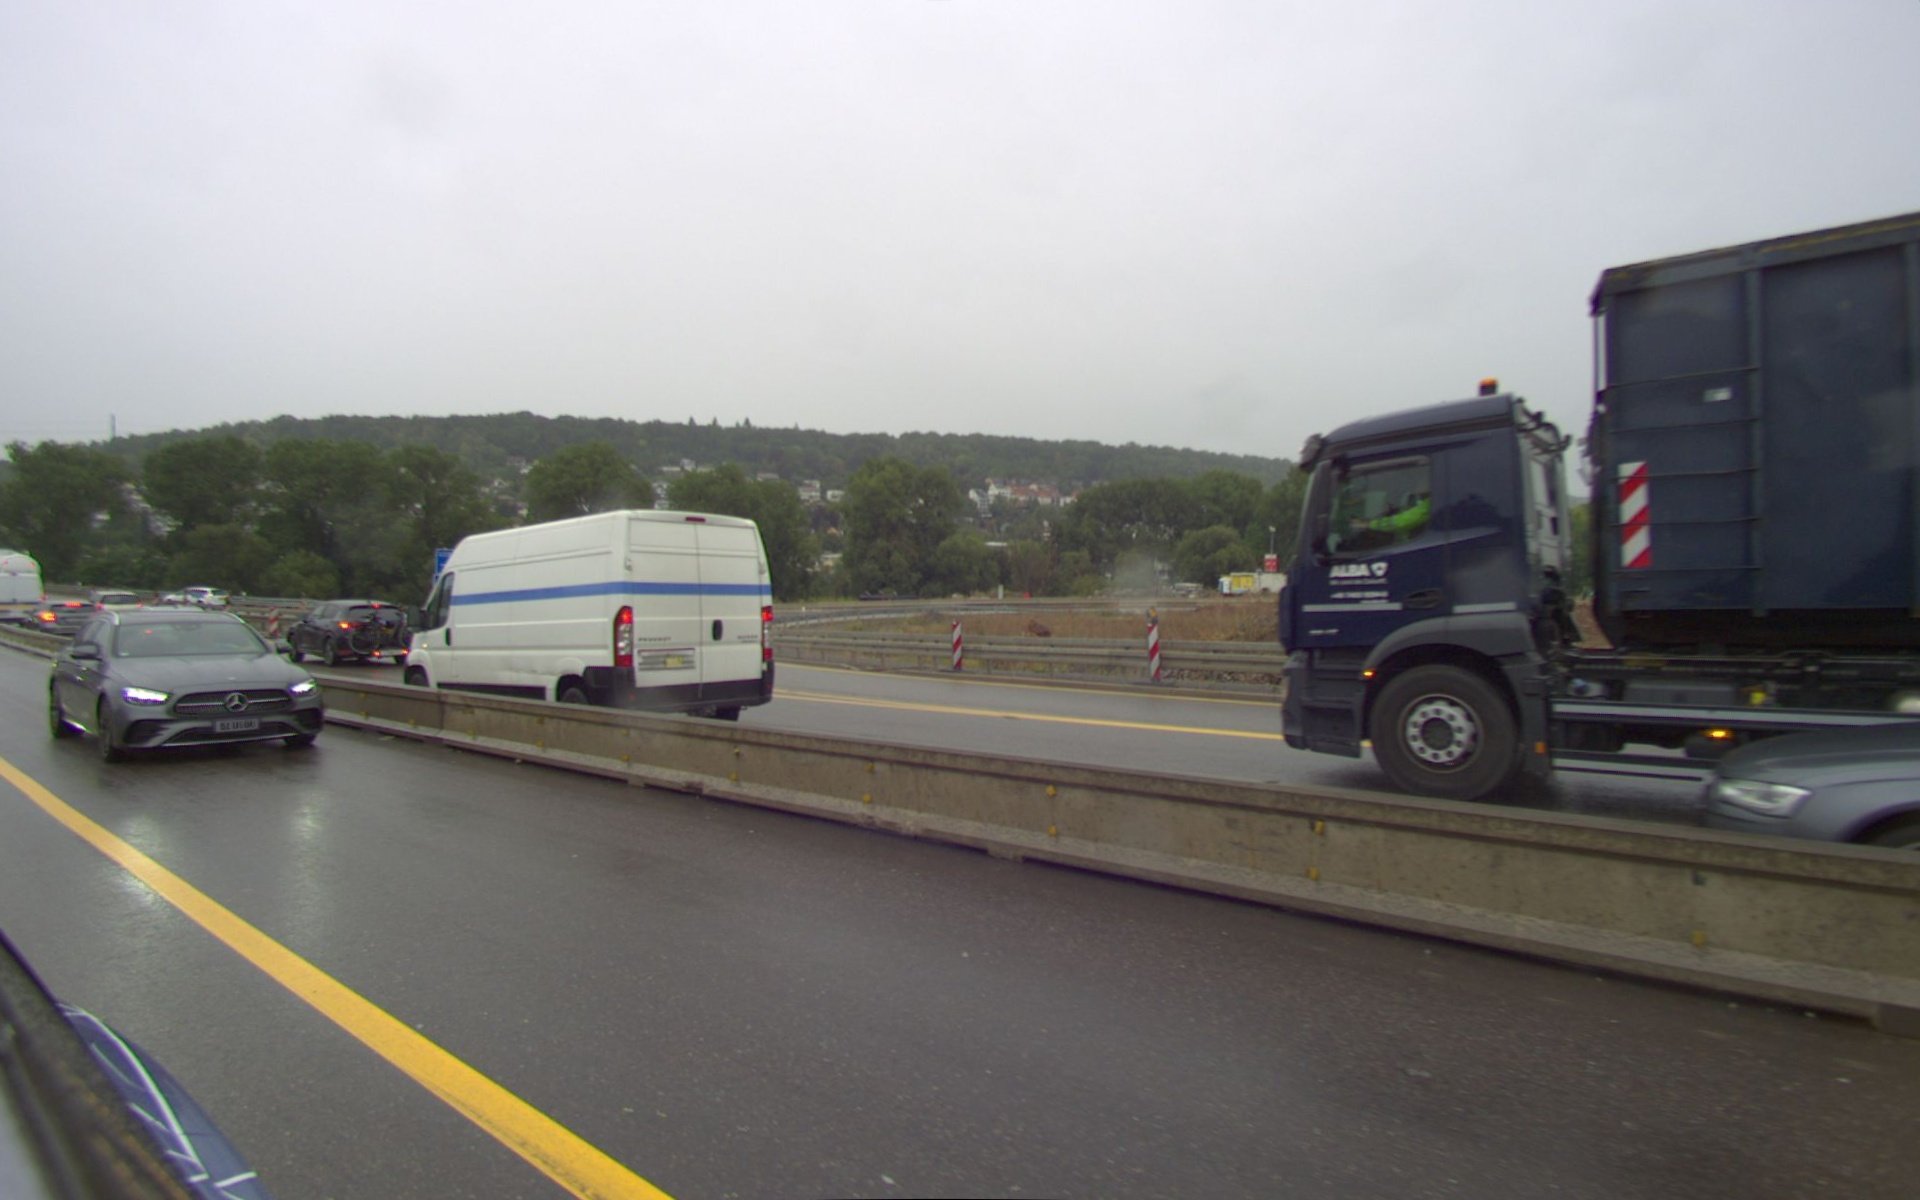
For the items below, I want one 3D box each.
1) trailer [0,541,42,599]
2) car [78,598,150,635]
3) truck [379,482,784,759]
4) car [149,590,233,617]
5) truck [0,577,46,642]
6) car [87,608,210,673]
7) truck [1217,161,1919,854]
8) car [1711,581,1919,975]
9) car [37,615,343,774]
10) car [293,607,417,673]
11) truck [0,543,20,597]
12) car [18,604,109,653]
[{"bbox_3d":[-64.686,-2.008,68.174,11.994,3.705,2.594,1,1,40],"label":"trailer"},{"bbox_3d":[-37.445,0.686,44.771,3.997,1.558,1.770,0,0,40],"label":"car"},{"bbox_3d":[-4.996,0.222,12.757,6.011,2.734,2.126,-1,-1,40],"label":"truck"},{"bbox_3d":[-53.490,0.235,70.437,4.993,1.713,1.843,1,1,12],"label":"car"},{"bbox_3d":[-40.702,0.342,42.935,5.958,2.595,2.057,2,1,40],"label":"truck"},{"bbox_3d":[-20.923,0.970,26.042,4.341,1.535,1.660,0,-1,40],"label":"car"},{"bbox_3d":[6.572,-0.538,6.671,9.204,4.000,2.615,-2,-1,40],"label":"truck"},{"bbox_3d":[5.514,0.651,3.448,4.666,1.482,1.850,-1,-1,40],"label":"car"},{"bbox_3d":[-8.889,0.907,11.537,4.481,1.449,1.926,-1,-1,41],"label":"car"},{"bbox_3d":[-15.415,0.950,25.711,3.877,1.535,1.706,0,-1,44],"label":"car"},{"bbox_3d":[-69.080,-2.129,71.858,6.590,3.705,2.594,1,1,40],"label":"truck"},{"bbox_3d":[-30.969,0.946,34.918,4.309,1.550,1.768,1,0,40],"label":"car"}]
